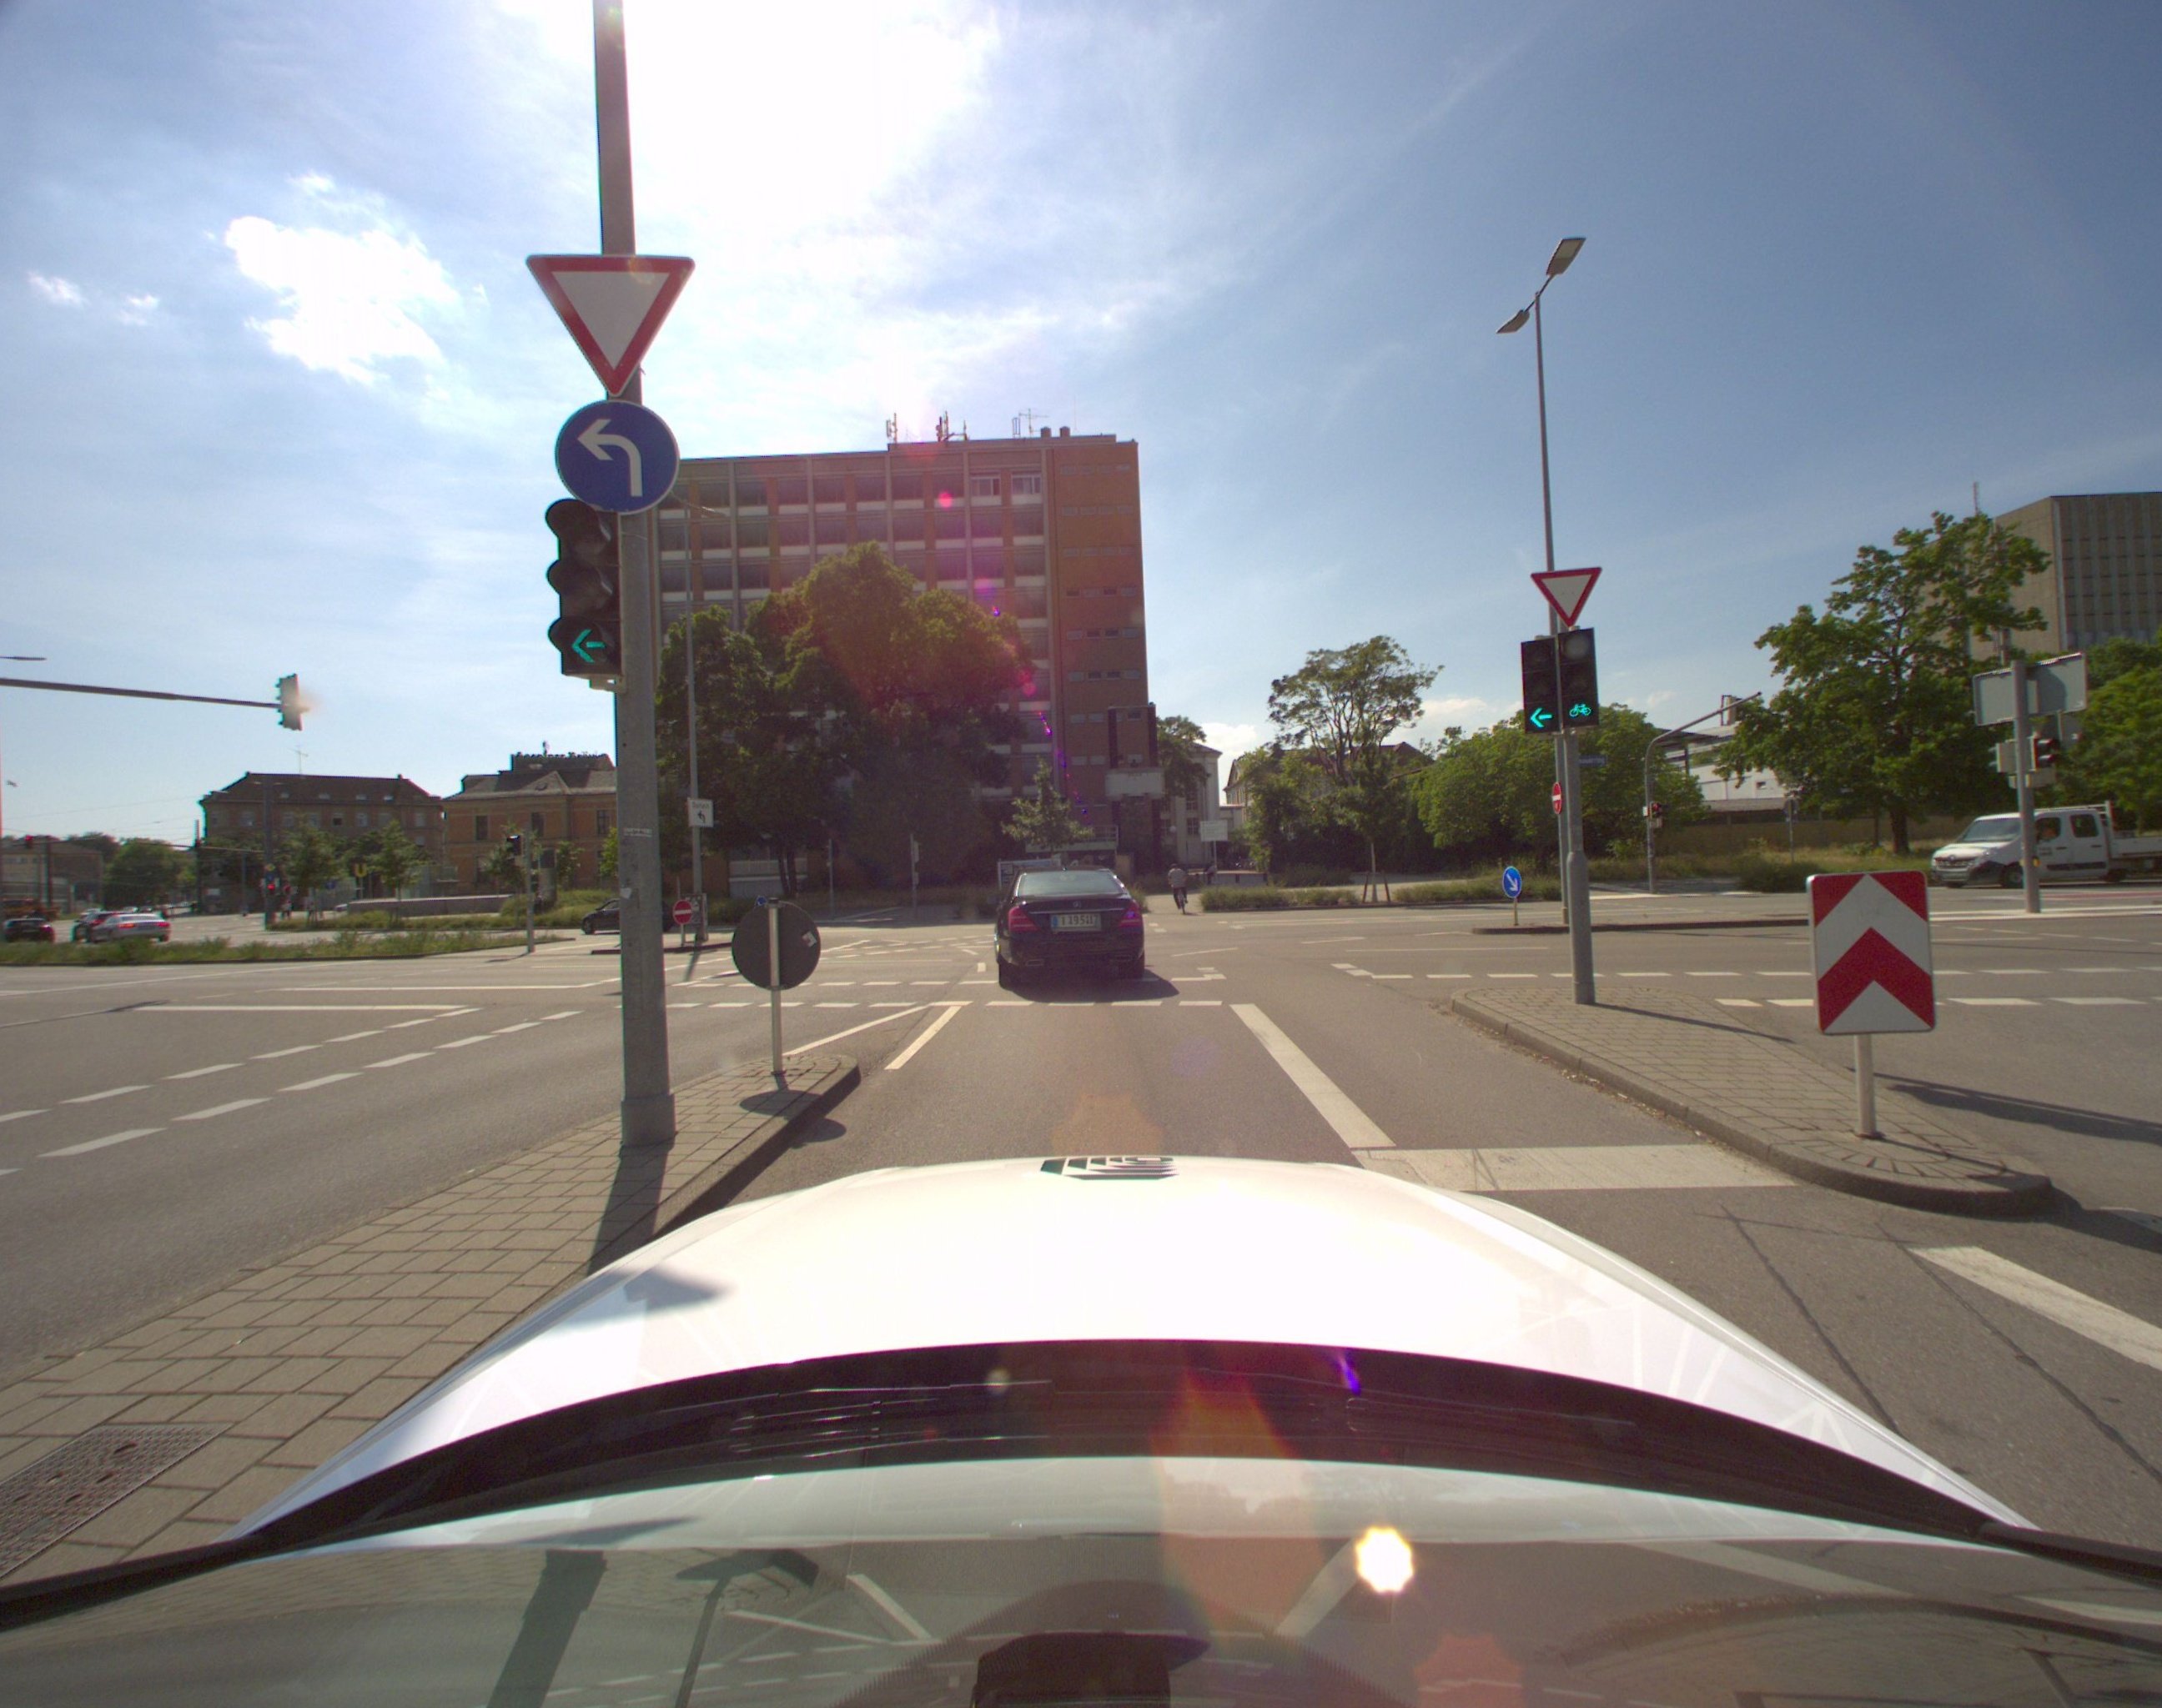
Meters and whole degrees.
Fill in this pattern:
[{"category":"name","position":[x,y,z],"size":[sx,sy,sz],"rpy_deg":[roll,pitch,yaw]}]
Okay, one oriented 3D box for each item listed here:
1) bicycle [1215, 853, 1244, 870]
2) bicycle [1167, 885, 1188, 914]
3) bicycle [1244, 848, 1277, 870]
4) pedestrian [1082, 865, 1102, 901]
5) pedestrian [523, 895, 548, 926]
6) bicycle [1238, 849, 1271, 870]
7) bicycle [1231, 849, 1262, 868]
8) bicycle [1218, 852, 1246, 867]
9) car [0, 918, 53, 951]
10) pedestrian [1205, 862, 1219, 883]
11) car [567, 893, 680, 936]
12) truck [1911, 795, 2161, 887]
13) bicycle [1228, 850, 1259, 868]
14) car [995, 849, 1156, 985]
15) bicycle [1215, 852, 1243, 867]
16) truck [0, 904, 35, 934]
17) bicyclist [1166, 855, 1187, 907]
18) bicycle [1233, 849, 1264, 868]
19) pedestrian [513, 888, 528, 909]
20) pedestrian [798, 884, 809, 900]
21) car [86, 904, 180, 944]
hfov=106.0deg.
[{"category":"bicycle","position":[15.535,0.787,85.352],"size":[2.813,1.559,0.842],"rpy_deg":[-3,-1,0]},{"category":"bicycle","position":[3.442,1.602,29.132],"size":[0.689,0.946,1.961],"rpy_deg":[0,-1,5]},{"category":"bicycle","position":[16.402,0.468,74.387],"size":[2.813,1.836,0.842],"rpy_deg":[-3,-1,0]},{"category":"pedestrian","position":[0.500,1.299,37.054],"size":[0.808,1.579,0.693],"rpy_deg":[-3,-1,3]},{"category":"pedestrian","position":[-31.665,3.282,47.269],"size":[0.790,1.725,0.878],"rpy_deg":[-3,-2,24]},{"category":"bicycle","position":[16.340,0.518,76.649],"size":[2.813,1.744,0.842],"rpy_deg":[-3,-1,0]},{"category":"bicycle","position":[16.073,0.425,79.115],"size":[2.813,1.659,0.842],"rpy_deg":[-3,1,0]},{"category":"bicycle","position":[16.234,0.607,87.420],"size":[2.813,1.500,0.842],"rpy_deg":[-3,-1,0]},{"category":"car","position":[-56.361,4.255,43.209],"size":[3.948,1.510,1.811],"rpy_deg":[-3,-1,32]},{"category":"pedestrian","position":[7.546,1.059,46.900],"size":[0.788,1.214,0.759],"rpy_deg":[0,-1,8]},{"category":"car","position":[-17.966,2.371,31.984],"size":[3.951,1.510,1.810],"rpy_deg":[-3,-2,23]},{"category":"truck","position":[29.321,-0.377,23.989],"size":[6.997,2.356,2.414],"rpy_deg":[-3,-2,2]},{"category":"bicycle","position":[16.020,0.473,80.184],"size":[2.813,1.587,0.842],"rpy_deg":[-3,-1,0]},{"category":"car","position":[-0.272,0.841,11.711],"size":[1.856,1.530,4.703],"rpy_deg":[0,-3,-5]},{"category":"bicycle","position":[16.089,0.602,88.755],"size":[2.813,1.480,0.842],"rpy_deg":[-3,-1,0]},{"category":"truck","position":[-143.719,8.713,109.591],"size":[7.827,3.730,3.093],"rpy_deg":[-4,-2,41]},{"category":"bicyclist","position":[3.474,0.979,29.667],"size":[0.682,1.878,0.861],"rpy_deg":[-1,-1,5]},{"category":"bicycle","position":[16.056,0.425,78.117],"size":[2.813,1.649,0.842],"rpy_deg":[-3,-1,0]},{"category":"pedestrian","position":[-44.588,3.541,64.754],"size":[0.644,1.661,0.652],"rpy_deg":[-3,-2,9]},{"category":"pedestrian","position":[-16.064,2.194,47.093],"size":[0.425,0.892,0.394],"rpy_deg":[-3,-1,11]},{"category":"car","position":[-48.490,3.582,41.660],"size":[3.951,1.816,2.011],"rpy_deg":[-3,-1,24]}]
